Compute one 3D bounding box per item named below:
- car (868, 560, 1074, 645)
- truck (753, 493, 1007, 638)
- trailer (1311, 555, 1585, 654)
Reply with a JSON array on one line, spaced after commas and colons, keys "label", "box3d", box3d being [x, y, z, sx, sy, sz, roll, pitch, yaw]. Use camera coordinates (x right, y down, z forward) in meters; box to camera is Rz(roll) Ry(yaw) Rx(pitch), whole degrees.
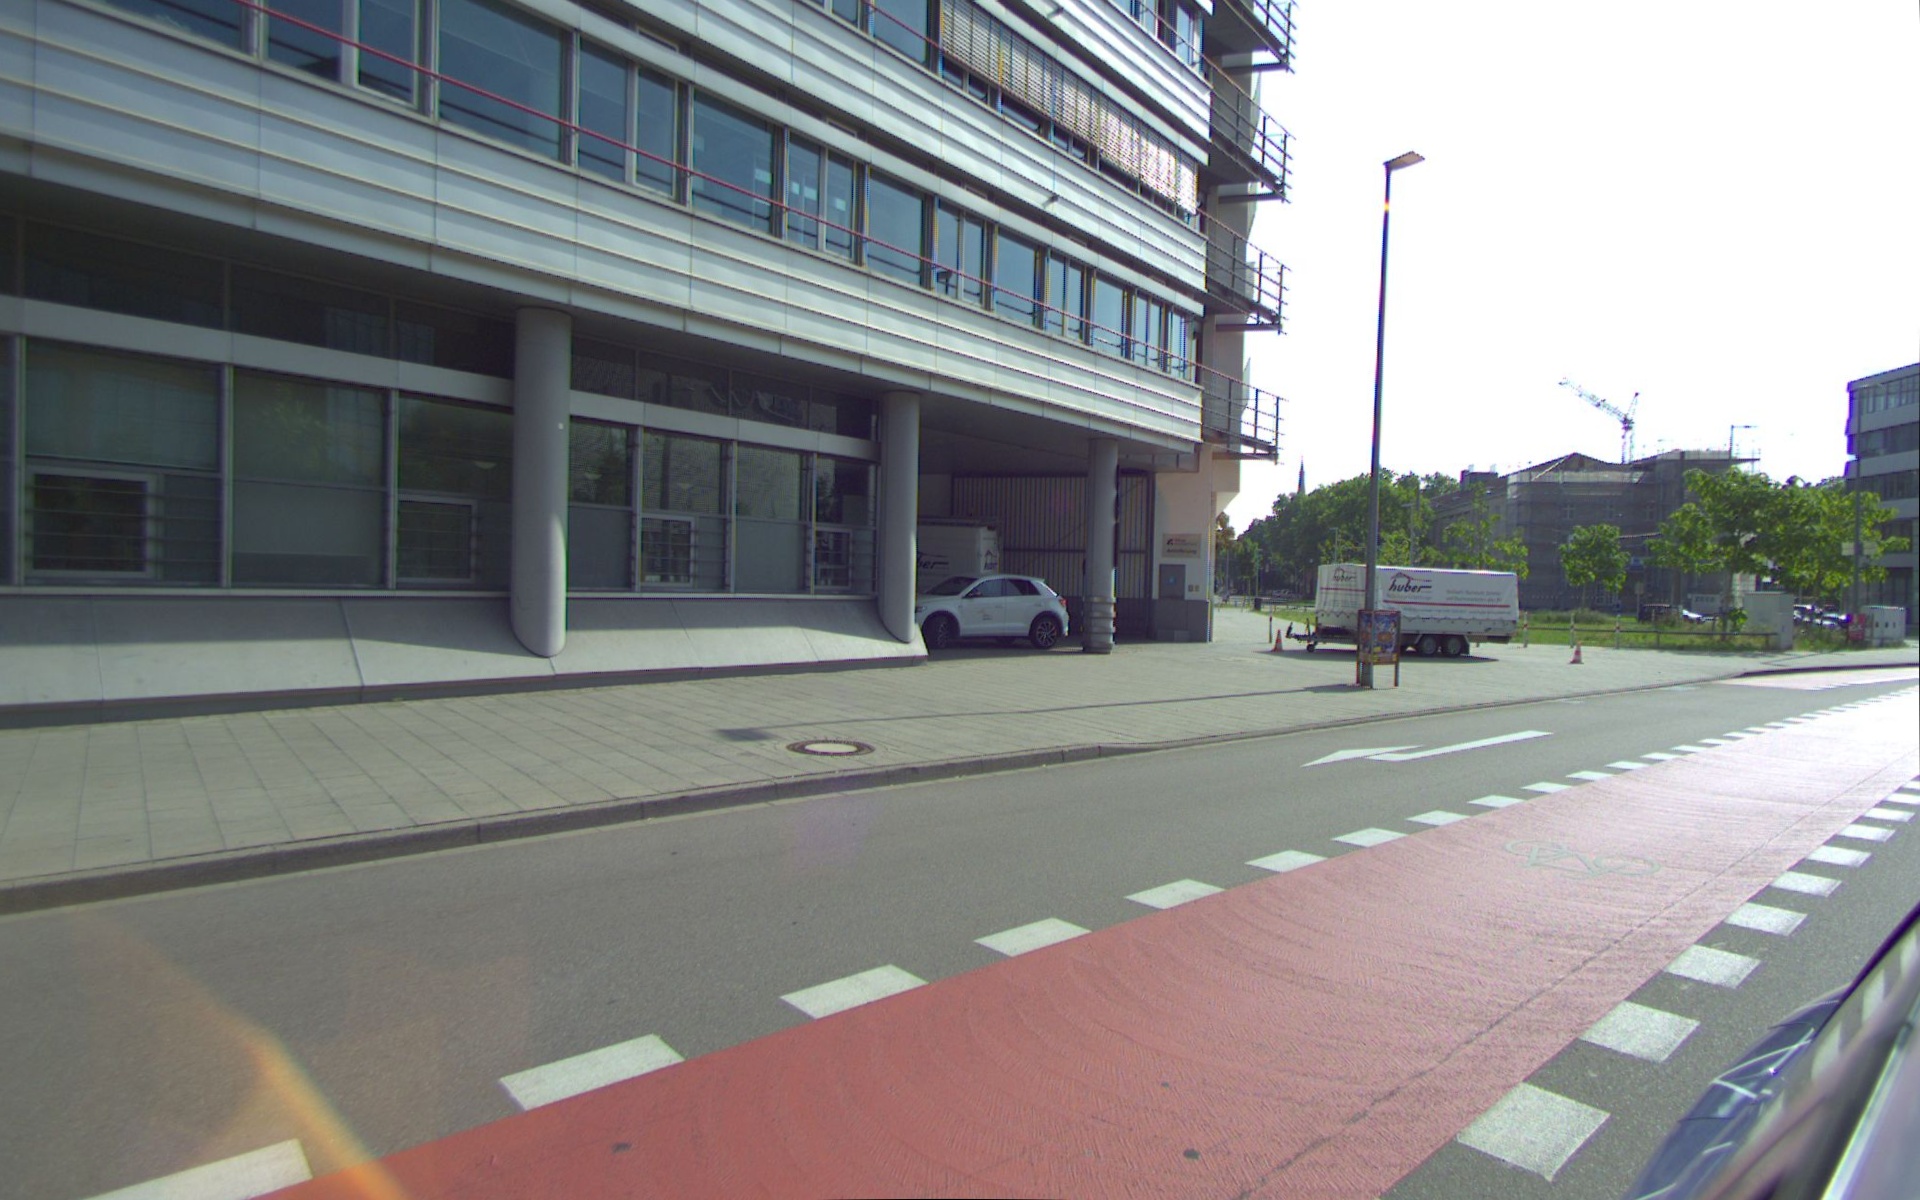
[{"label": "car", "box3d": [0.252, 0.062, 21.042, 3.921, 1.609, 1.751, 2, 1, -32]}, {"label": "truck", "box3d": [-2.069, -0.952, 25.983, 6.072, 3.134, 1.989, 5, 3, 18]}, {"label": "trailer", "box3d": [11.865, 0.110, 24.729, 5.824, 2.178, 2.402, 1, 1, -15]}]
